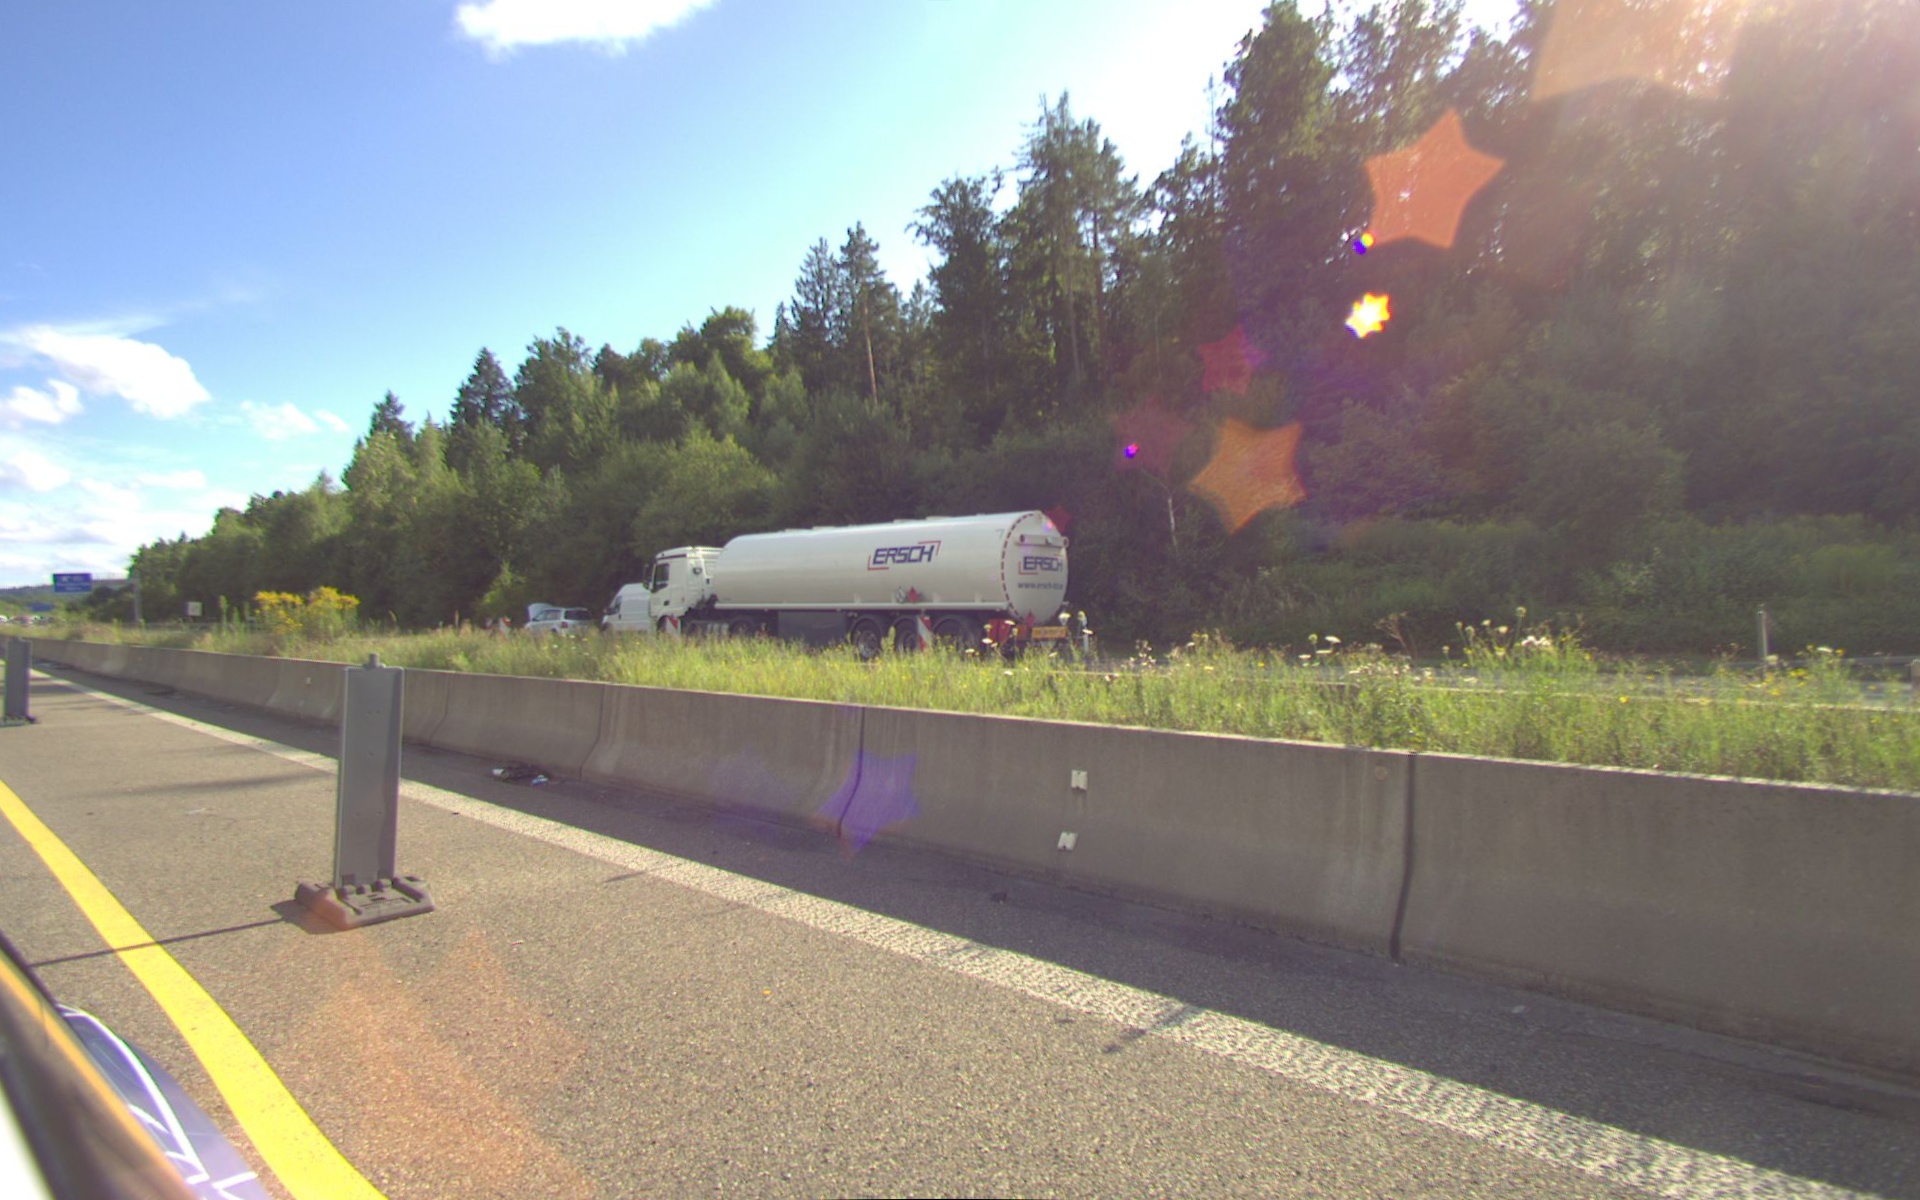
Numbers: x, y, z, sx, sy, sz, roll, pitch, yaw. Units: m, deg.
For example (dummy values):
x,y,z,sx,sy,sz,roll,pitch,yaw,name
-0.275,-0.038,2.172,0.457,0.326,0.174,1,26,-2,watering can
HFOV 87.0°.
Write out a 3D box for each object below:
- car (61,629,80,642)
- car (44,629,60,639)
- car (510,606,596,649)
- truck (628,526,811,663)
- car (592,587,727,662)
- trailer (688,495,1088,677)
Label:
x,y,z,sx,sy,sz,roll,pitch,yaw,name
-138.090,5.495,157.156,4.365,1.799,1.758,-1,0,43,car
-170.105,6.292,189.589,4.365,1.799,1.758,-1,0,43,car
-18.872,1.256,46.834,4.762,1.867,1.840,-1,0,43,car
-6.867,-0.121,28.665,4.939,3.516,2.754,-1,0,43,truck
-11.818,0.917,39.421,6.523,2.705,2.006,-1,0,43,car
-2.289,-0.211,24.413,11.112,3.516,2.771,-1,0,43,trailer
